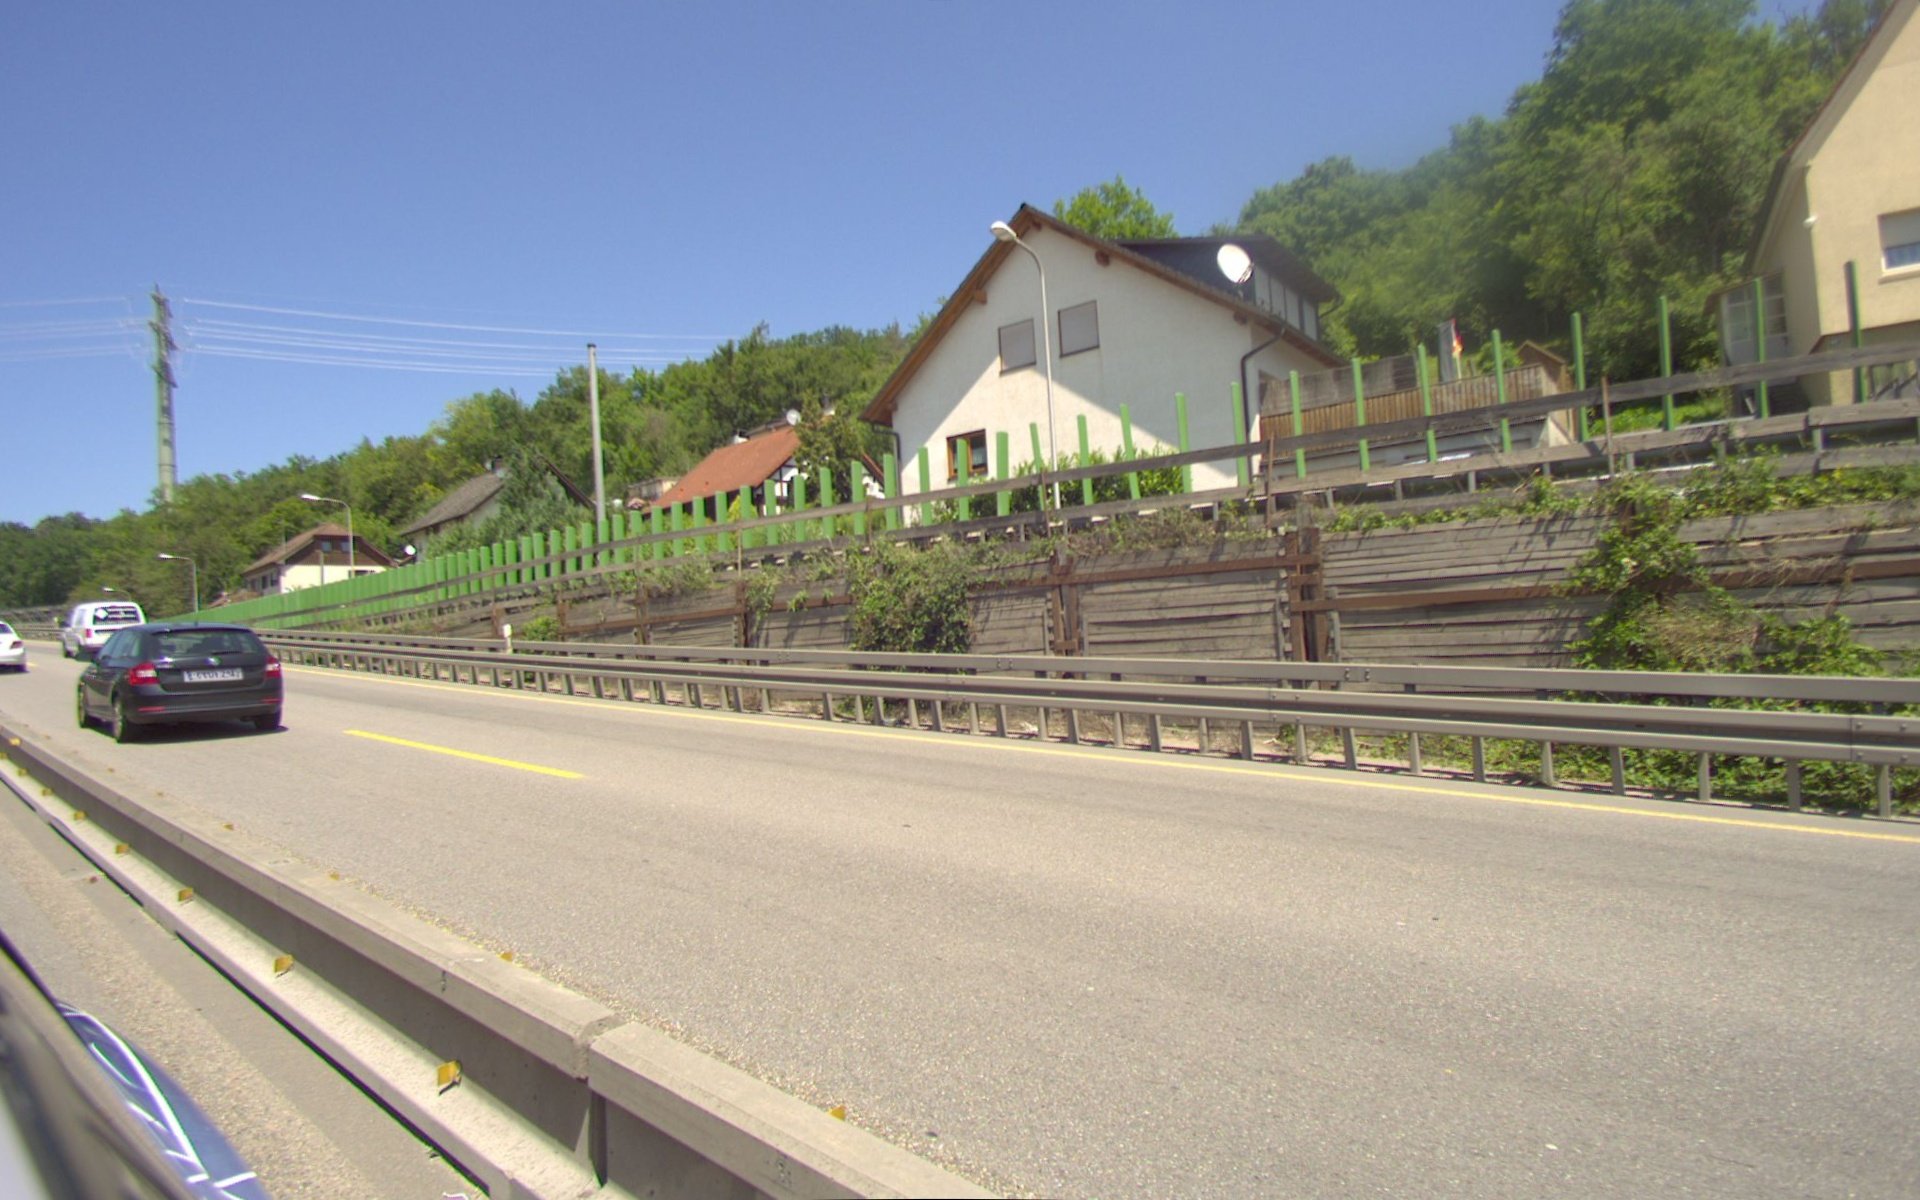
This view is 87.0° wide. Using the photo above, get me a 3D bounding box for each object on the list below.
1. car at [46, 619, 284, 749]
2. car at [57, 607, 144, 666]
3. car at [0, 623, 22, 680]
[{"bbox_3d":[-10.905,1.004,13.746,4.665,1.457,1.590,-1,0,40],"label":"car"},{"bbox_3d":[-28.911,1.166,33.987,4.751,1.847,1.580,-1,-1,41],"label":"car"},{"bbox_3d":[-27.000,1.399,27.489,4.256,1.448,1.715,-1,1,41],"label":"car"}]
